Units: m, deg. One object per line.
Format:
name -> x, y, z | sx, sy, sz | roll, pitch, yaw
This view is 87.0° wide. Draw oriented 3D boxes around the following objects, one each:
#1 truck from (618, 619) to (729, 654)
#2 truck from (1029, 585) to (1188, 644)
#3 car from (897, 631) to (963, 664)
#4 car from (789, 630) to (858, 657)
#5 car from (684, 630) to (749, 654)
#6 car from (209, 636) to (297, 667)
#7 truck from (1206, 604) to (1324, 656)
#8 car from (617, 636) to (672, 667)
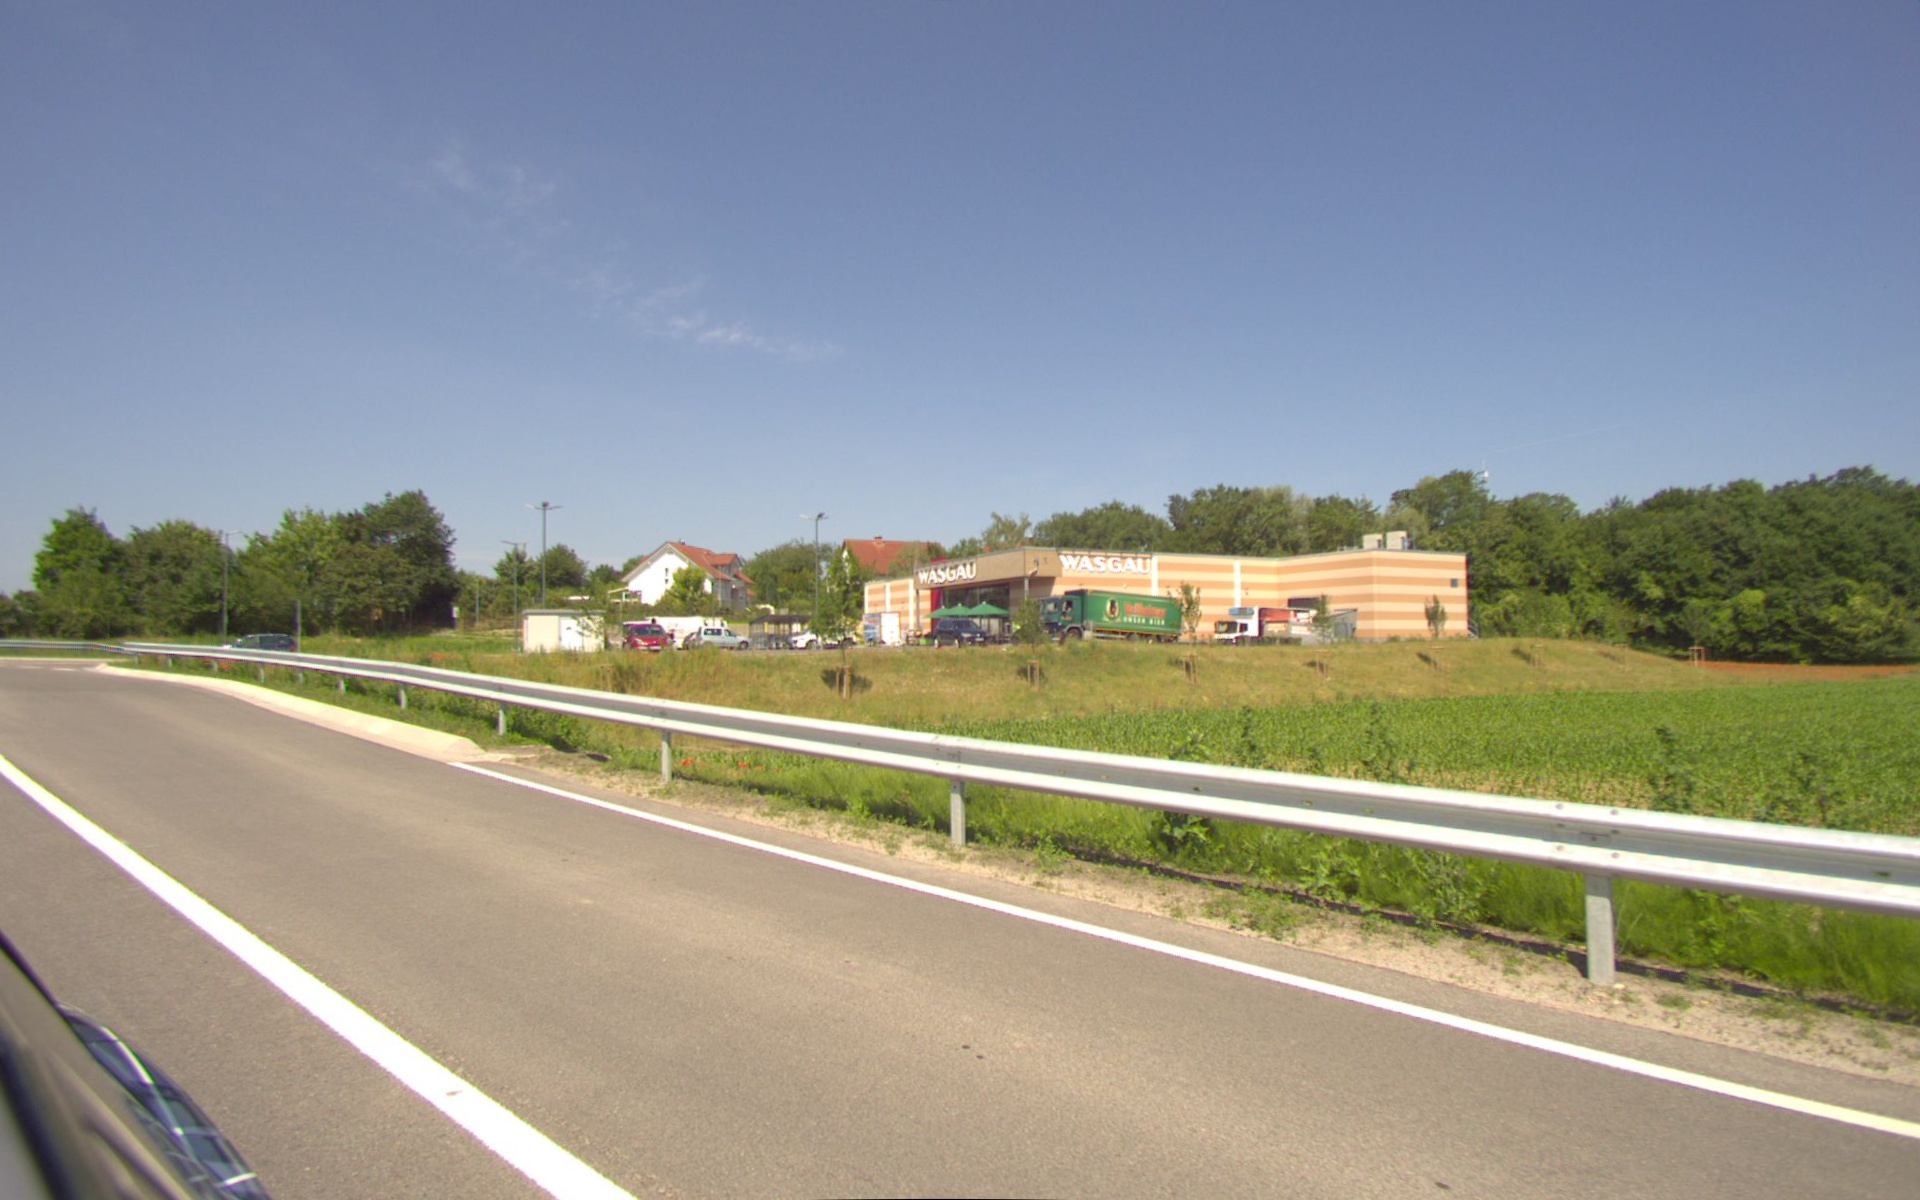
truck -> -28.048, 3.520, 99.508 | 10.557, 3.215, 2.450 | 1, -1, -43
truck -> 9.383, 0.931, 63.641 | 9.769, 3.503, 2.888 | 0, -1, -23
car -> -1.750, 2.633, 57.344 | 1.966, 1.774, 4.011 | 1, -2, -33
car -> -9.366, 2.956, 69.562 | 4.258, 1.717, 2.006 | 1, -1, -29
car -> -17.856, 3.062, 74.372 | 4.259, 1.610, 2.006 | 1, -1, -30
car -> -42.161, 3.044, 60.481 | 4.124, 1.717, 2.006 | 1, -1, -30
truck -> 22.359, 2.142, 74.047 | 8.728, 3.591, 2.888 | 1, -1, -27
car -> -14.546, 2.347, 46.557 | 1.596, 1.299, 3.685 | 1, -1, -30
